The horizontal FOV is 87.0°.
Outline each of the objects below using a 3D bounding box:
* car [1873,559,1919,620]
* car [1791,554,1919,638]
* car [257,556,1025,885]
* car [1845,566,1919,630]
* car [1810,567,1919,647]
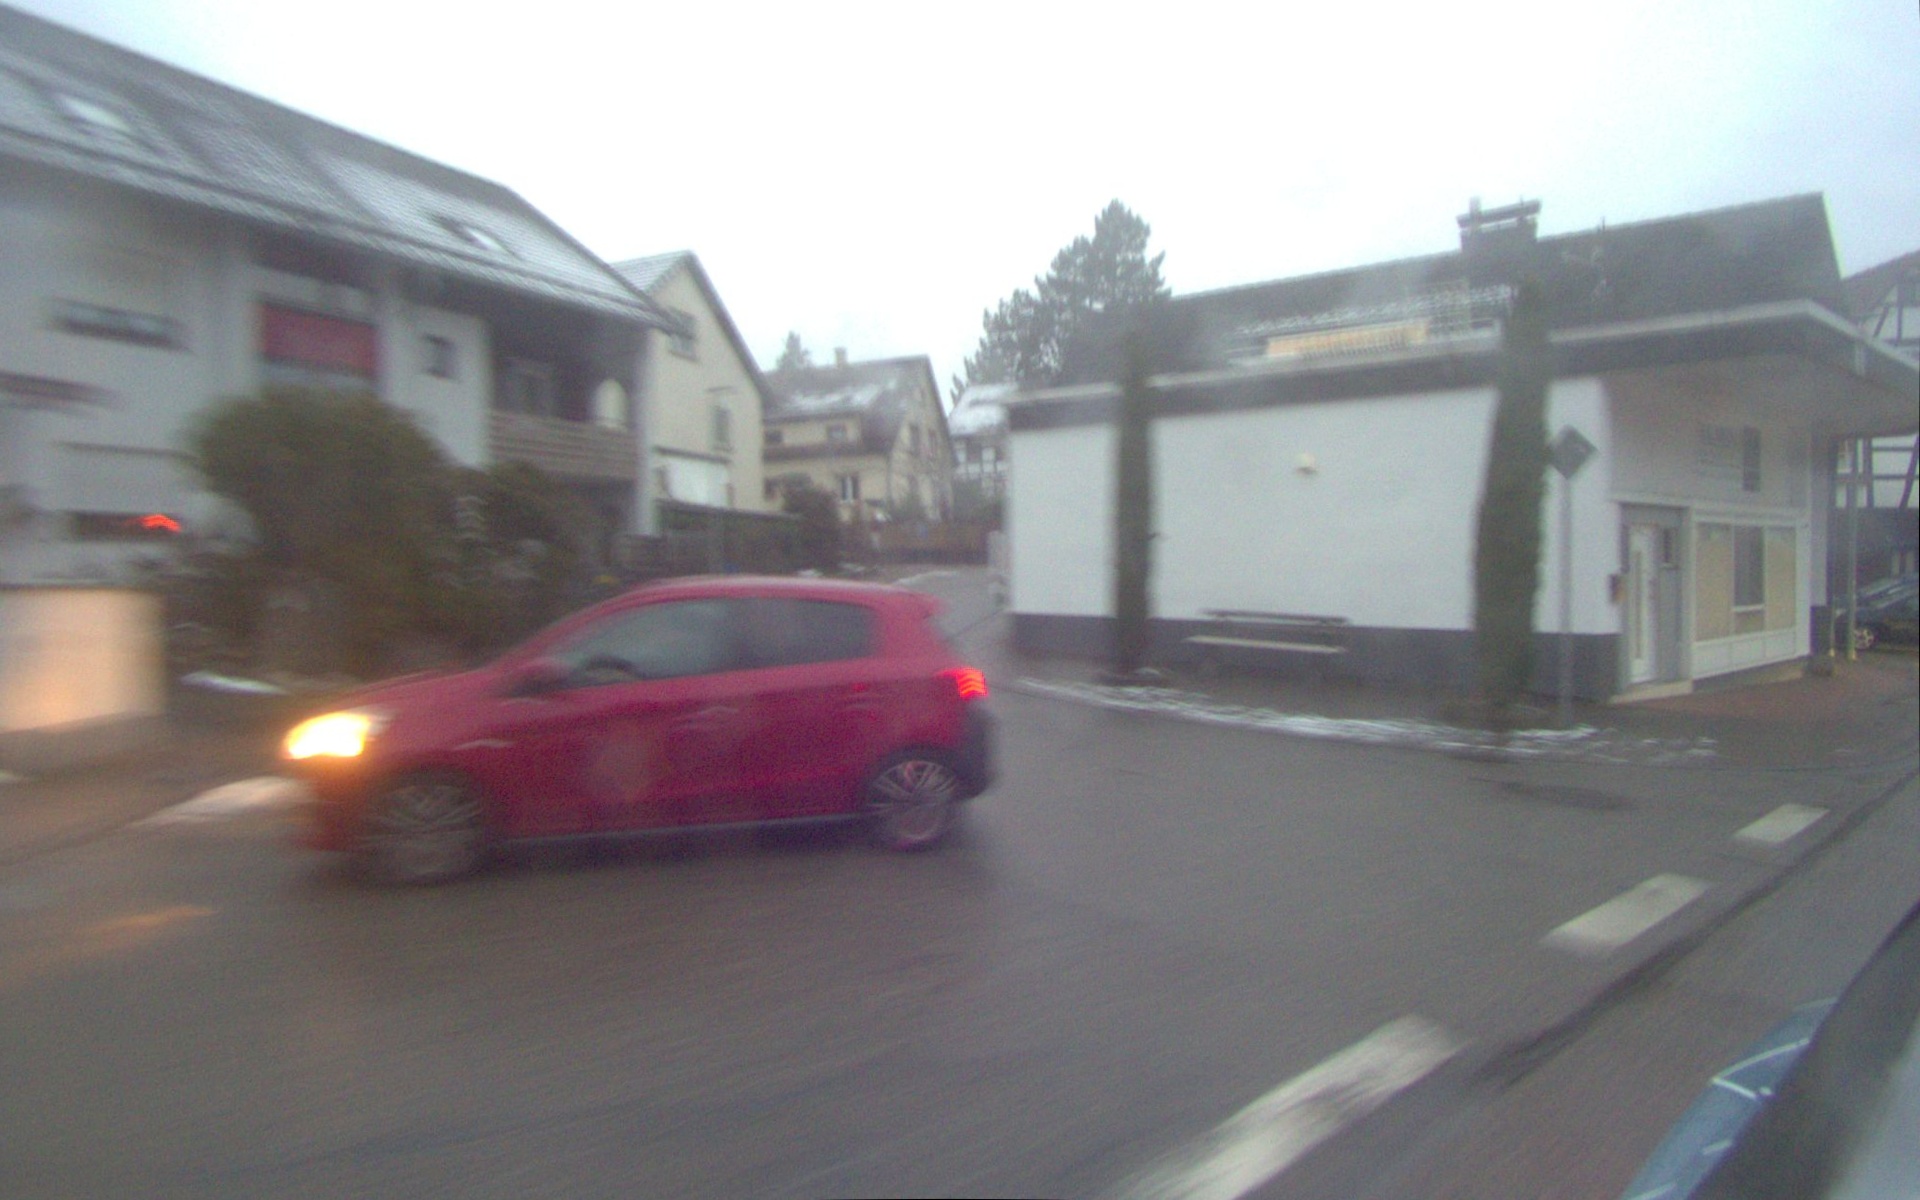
[{"bbox_3d":[27.458,-0.163,27.166,3.945,1.533,1.585,5,6,25],"label":"car"},{"bbox_3d":[22.226,-0.031,23.265,4.443,1.679,1.836,6,6,31],"label":"car"},{"bbox_3d":[-1.607,0.542,5.768,3.621,1.484,1.554,0,1,-14],"label":"car"},{"bbox_3d":[24.629,0.053,24.848,4.010,1.437,1.796,6,7,32],"label":"car"},{"bbox_3d":[20.620,0.222,21.275,3.867,1.466,1.868,6,7,32],"label":"car"}]
